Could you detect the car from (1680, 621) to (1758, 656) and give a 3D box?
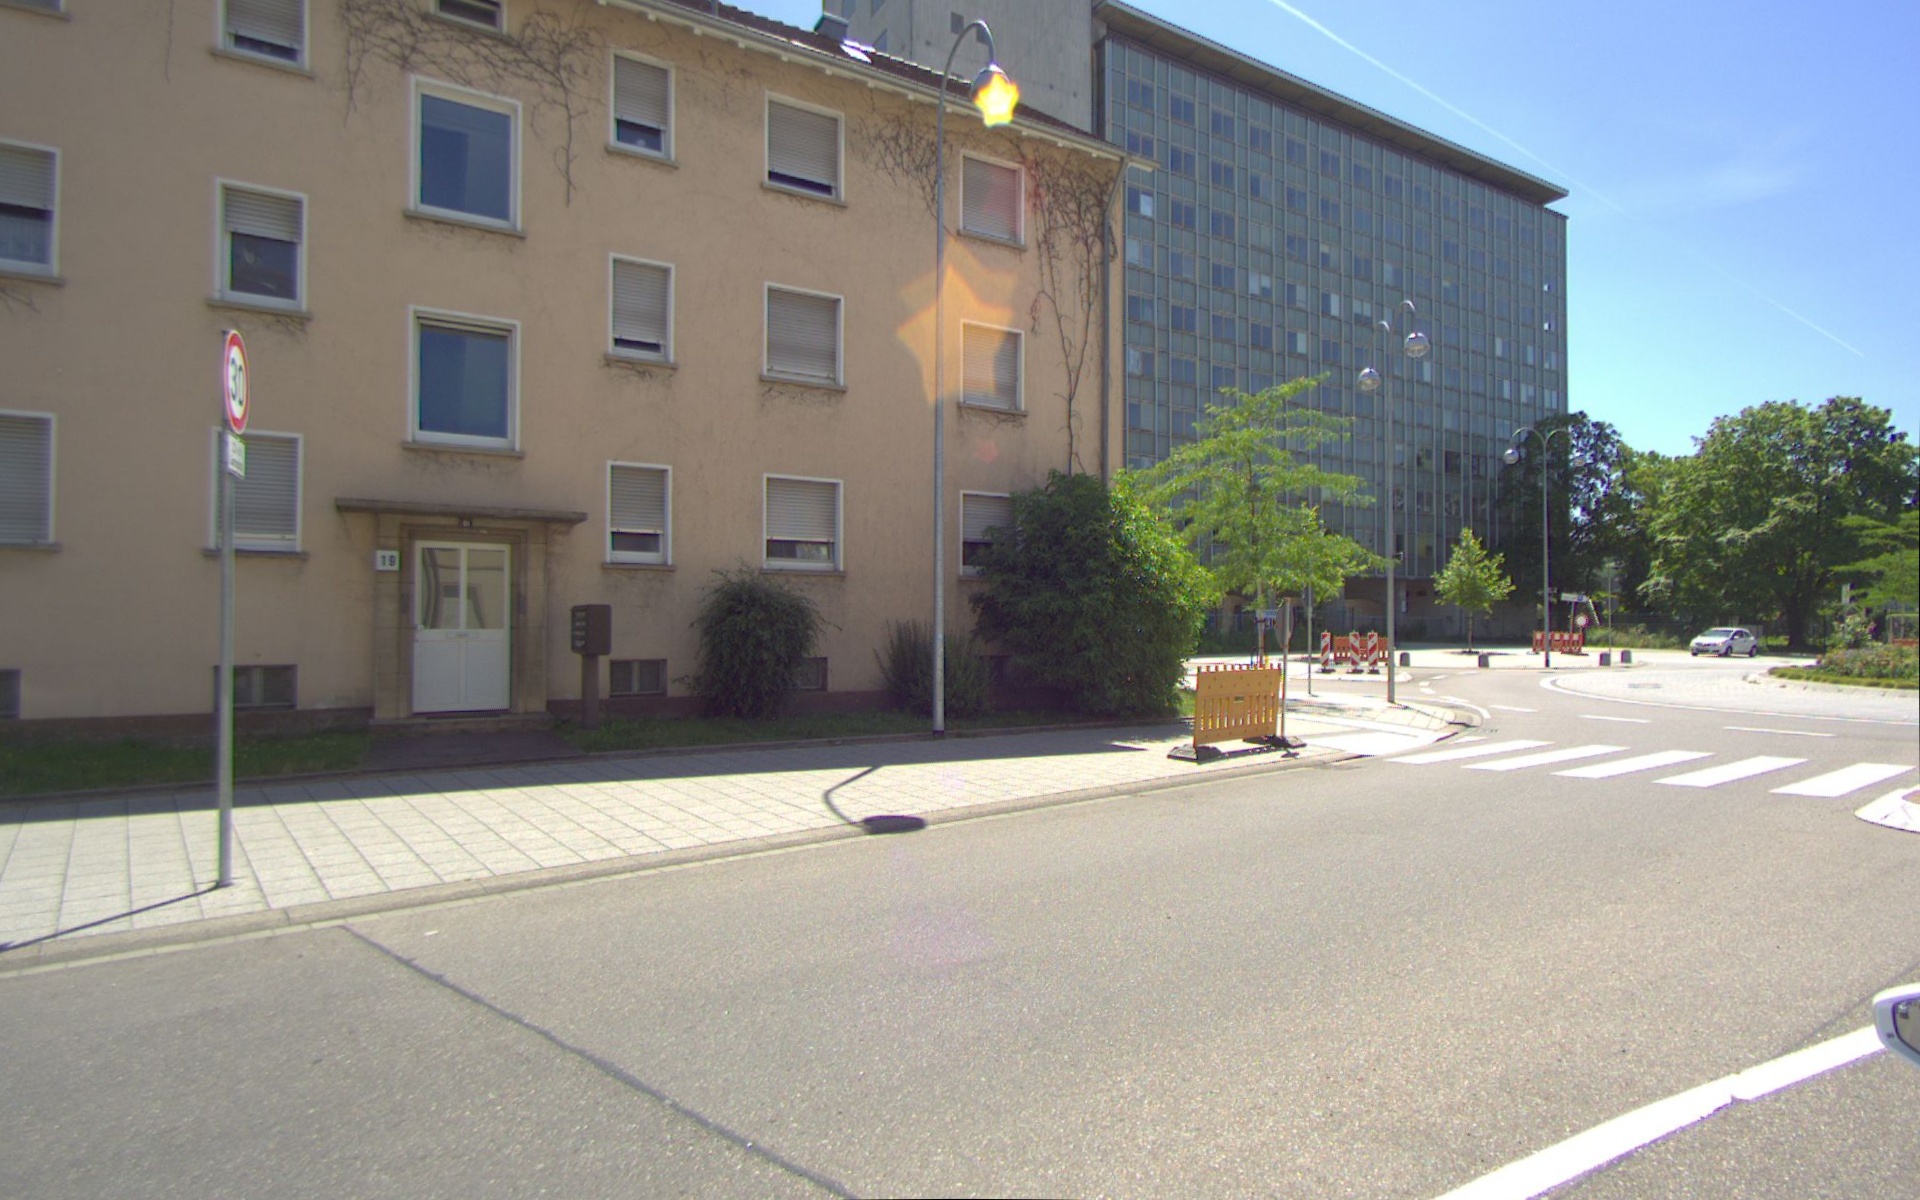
[{"bbox_3d":[39.629,2.025,52.454,3.872,1.618,1.778,4,-2,-28],"label":"car"}]

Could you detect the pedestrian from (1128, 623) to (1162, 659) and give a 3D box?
[{"bbox_3d":[8.369,1.855,45.384,1.259,1.606,0.947,1,-1,-11],"label":"pedestrian"}]

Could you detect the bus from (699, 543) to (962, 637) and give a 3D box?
[{"bbox_3d":[-5.087,-0.412,38.989,9.886,3.369,2.963,1,1,20],"label":"bus"}]
